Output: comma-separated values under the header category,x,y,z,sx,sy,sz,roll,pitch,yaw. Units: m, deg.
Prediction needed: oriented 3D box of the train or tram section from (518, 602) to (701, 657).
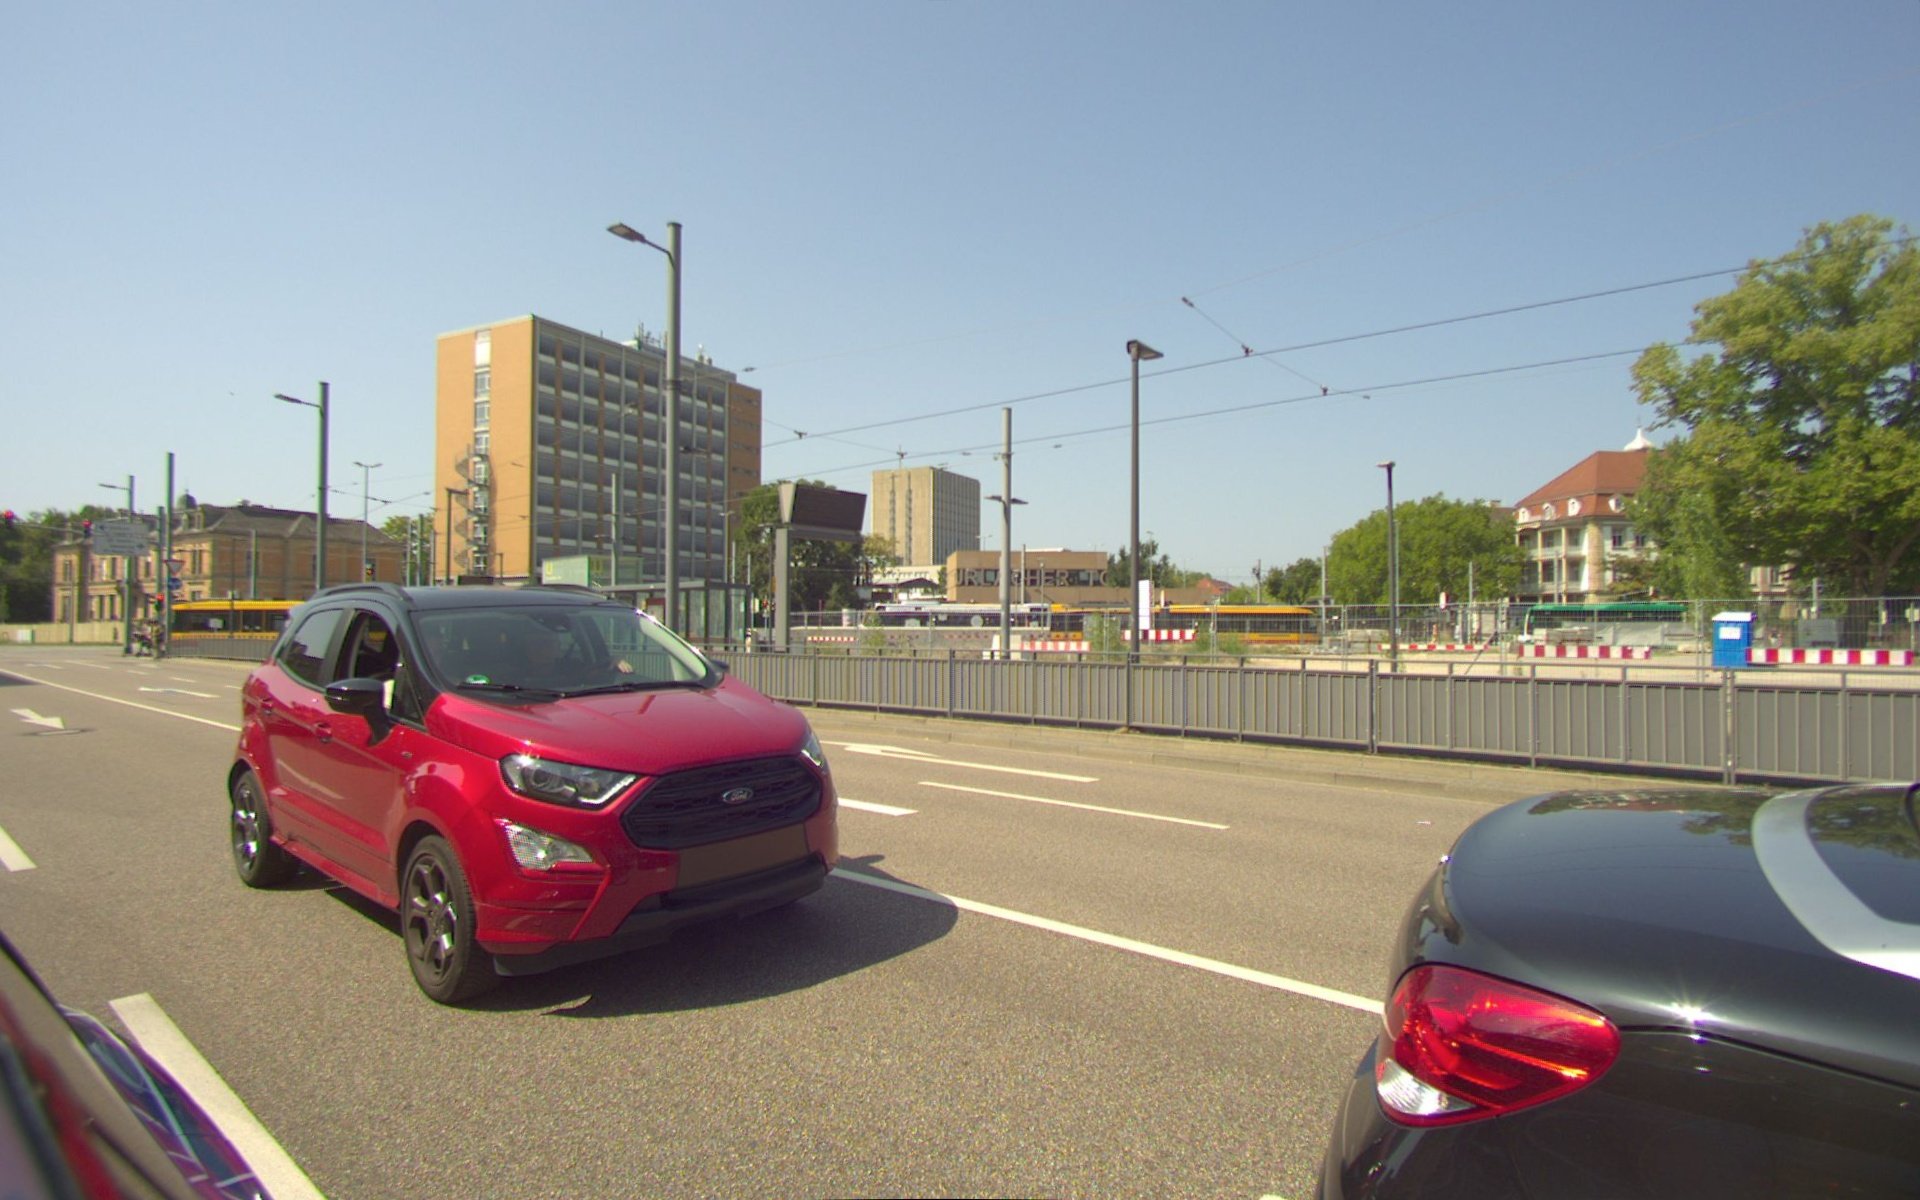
category,x,y,z,sx,sy,sz,roll,pitch,yaw
train or tram section,-24.779,2.101,71.942,12.179,3.794,2.002,0,-2,-5

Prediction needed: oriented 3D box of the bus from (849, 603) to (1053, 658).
category,x,y,z,sx,sy,sz,roll,pitch,yaw
bus,-0.705,1.962,67.220,13.203,3.319,3.355,-1,0,-5

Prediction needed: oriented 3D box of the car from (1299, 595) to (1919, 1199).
category,x,y,z,sx,sy,sz,roll,pitch,yaw
car,2.430,0.685,0.724,3.799,1.424,1.671,-1,-1,40

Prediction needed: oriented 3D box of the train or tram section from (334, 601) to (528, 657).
category,x,y,z,sx,sy,sz,roll,pitch,yaw
train or tram section,-36.924,2.053,70.912,12.179,3.794,2.002,0,-2,-5

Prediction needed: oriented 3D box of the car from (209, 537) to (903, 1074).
category,x,y,z,sx,sy,sz,roll,pitch,yaw
car,-2.255,0.659,5.019,3.966,1.633,1.613,-1,-1,42

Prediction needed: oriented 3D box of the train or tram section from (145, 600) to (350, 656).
category,x,y,z,sx,sy,sz,roll,pitch,yaw
train or tram section,-49.057,1.974,69.882,12.179,3.794,2.002,0,-2,-5
